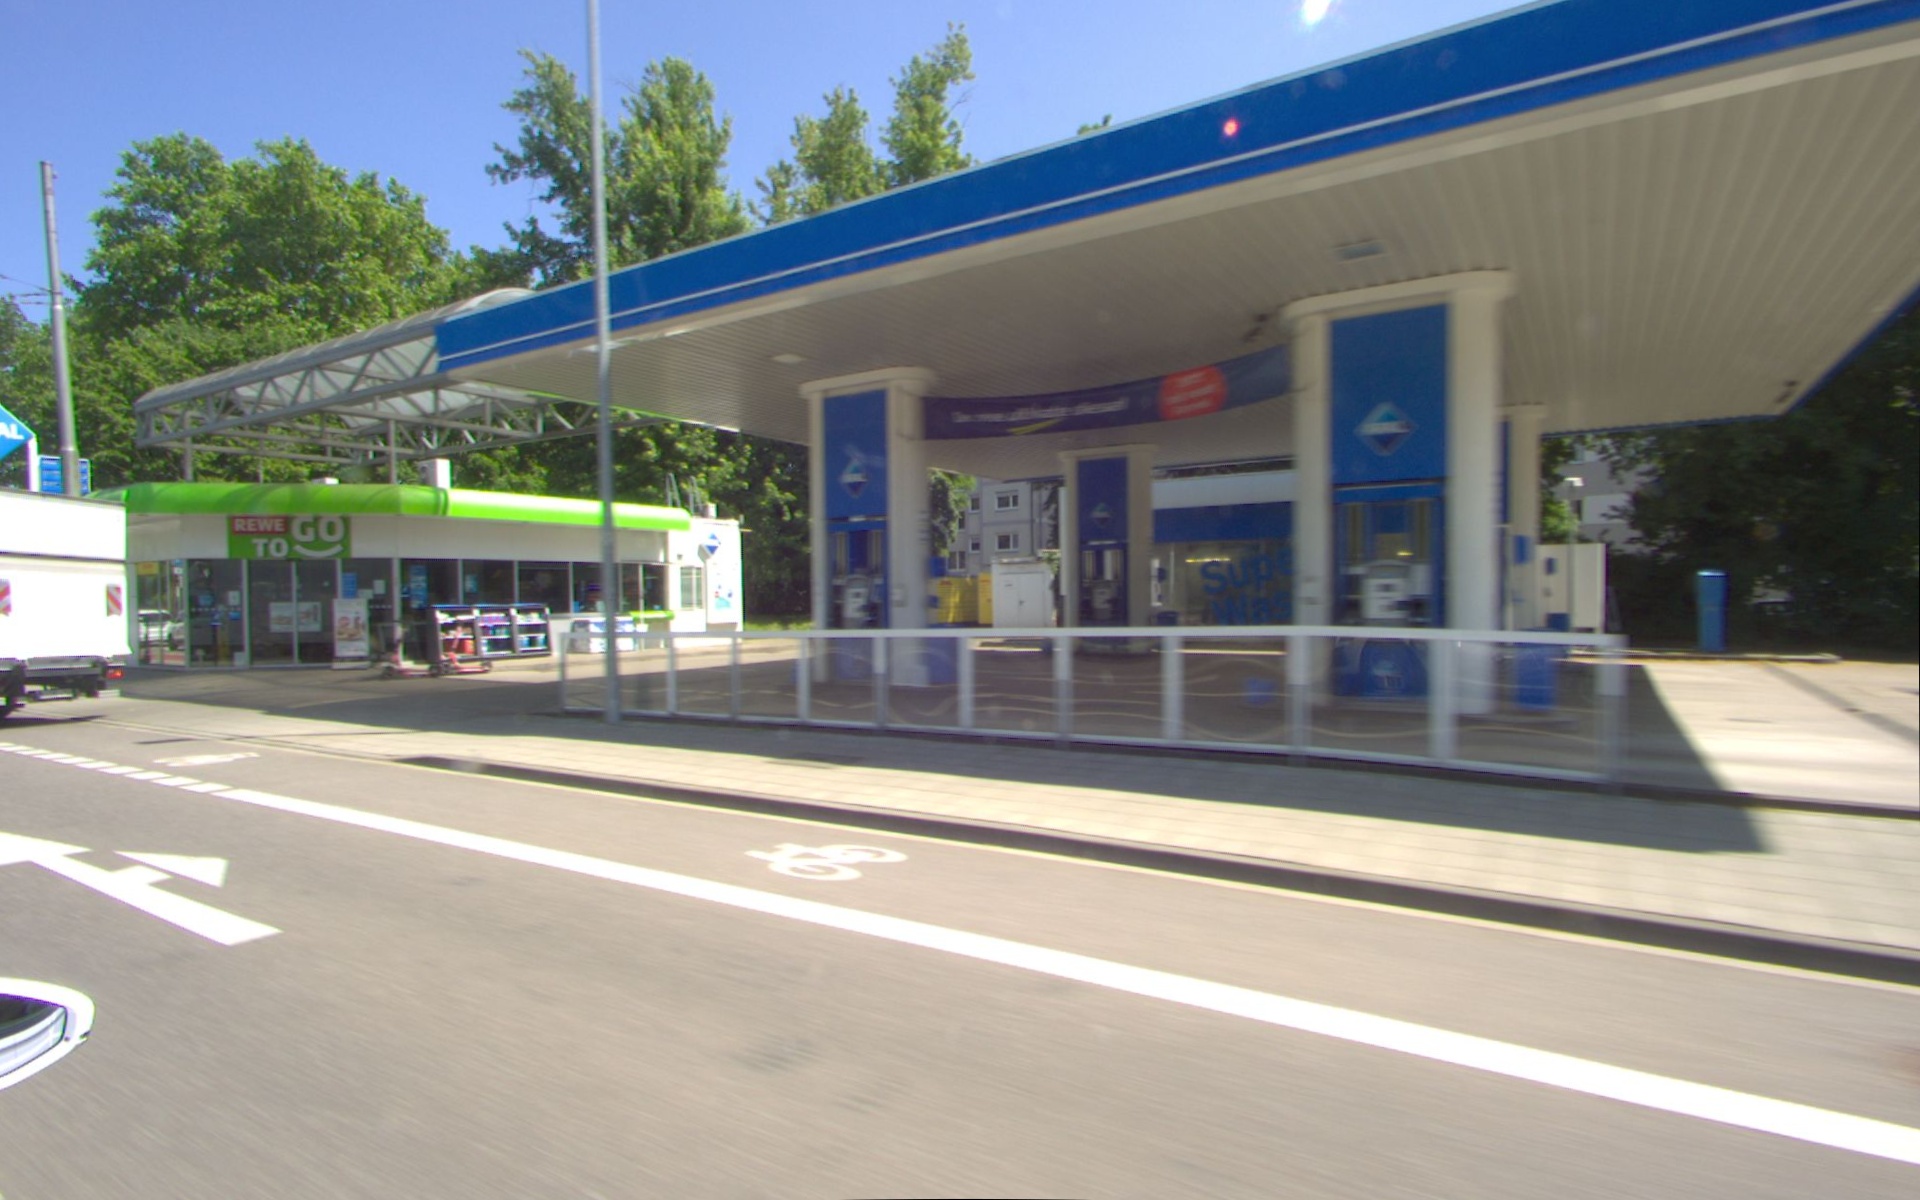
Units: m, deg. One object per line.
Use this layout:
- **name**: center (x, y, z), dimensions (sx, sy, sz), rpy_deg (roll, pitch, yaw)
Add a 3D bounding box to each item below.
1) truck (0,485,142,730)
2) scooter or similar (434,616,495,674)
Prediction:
- **truck**: center (-17.168, 0.141, 15.305), dimensions (7.681, 3.437, 2.427), rpy_deg (-1, 1, 5)
- **scooter or similar**: center (-10.736, 0.956, 21.714), dimensions (0.378, 1.192, 1.132), rpy_deg (0, 1, 33)
